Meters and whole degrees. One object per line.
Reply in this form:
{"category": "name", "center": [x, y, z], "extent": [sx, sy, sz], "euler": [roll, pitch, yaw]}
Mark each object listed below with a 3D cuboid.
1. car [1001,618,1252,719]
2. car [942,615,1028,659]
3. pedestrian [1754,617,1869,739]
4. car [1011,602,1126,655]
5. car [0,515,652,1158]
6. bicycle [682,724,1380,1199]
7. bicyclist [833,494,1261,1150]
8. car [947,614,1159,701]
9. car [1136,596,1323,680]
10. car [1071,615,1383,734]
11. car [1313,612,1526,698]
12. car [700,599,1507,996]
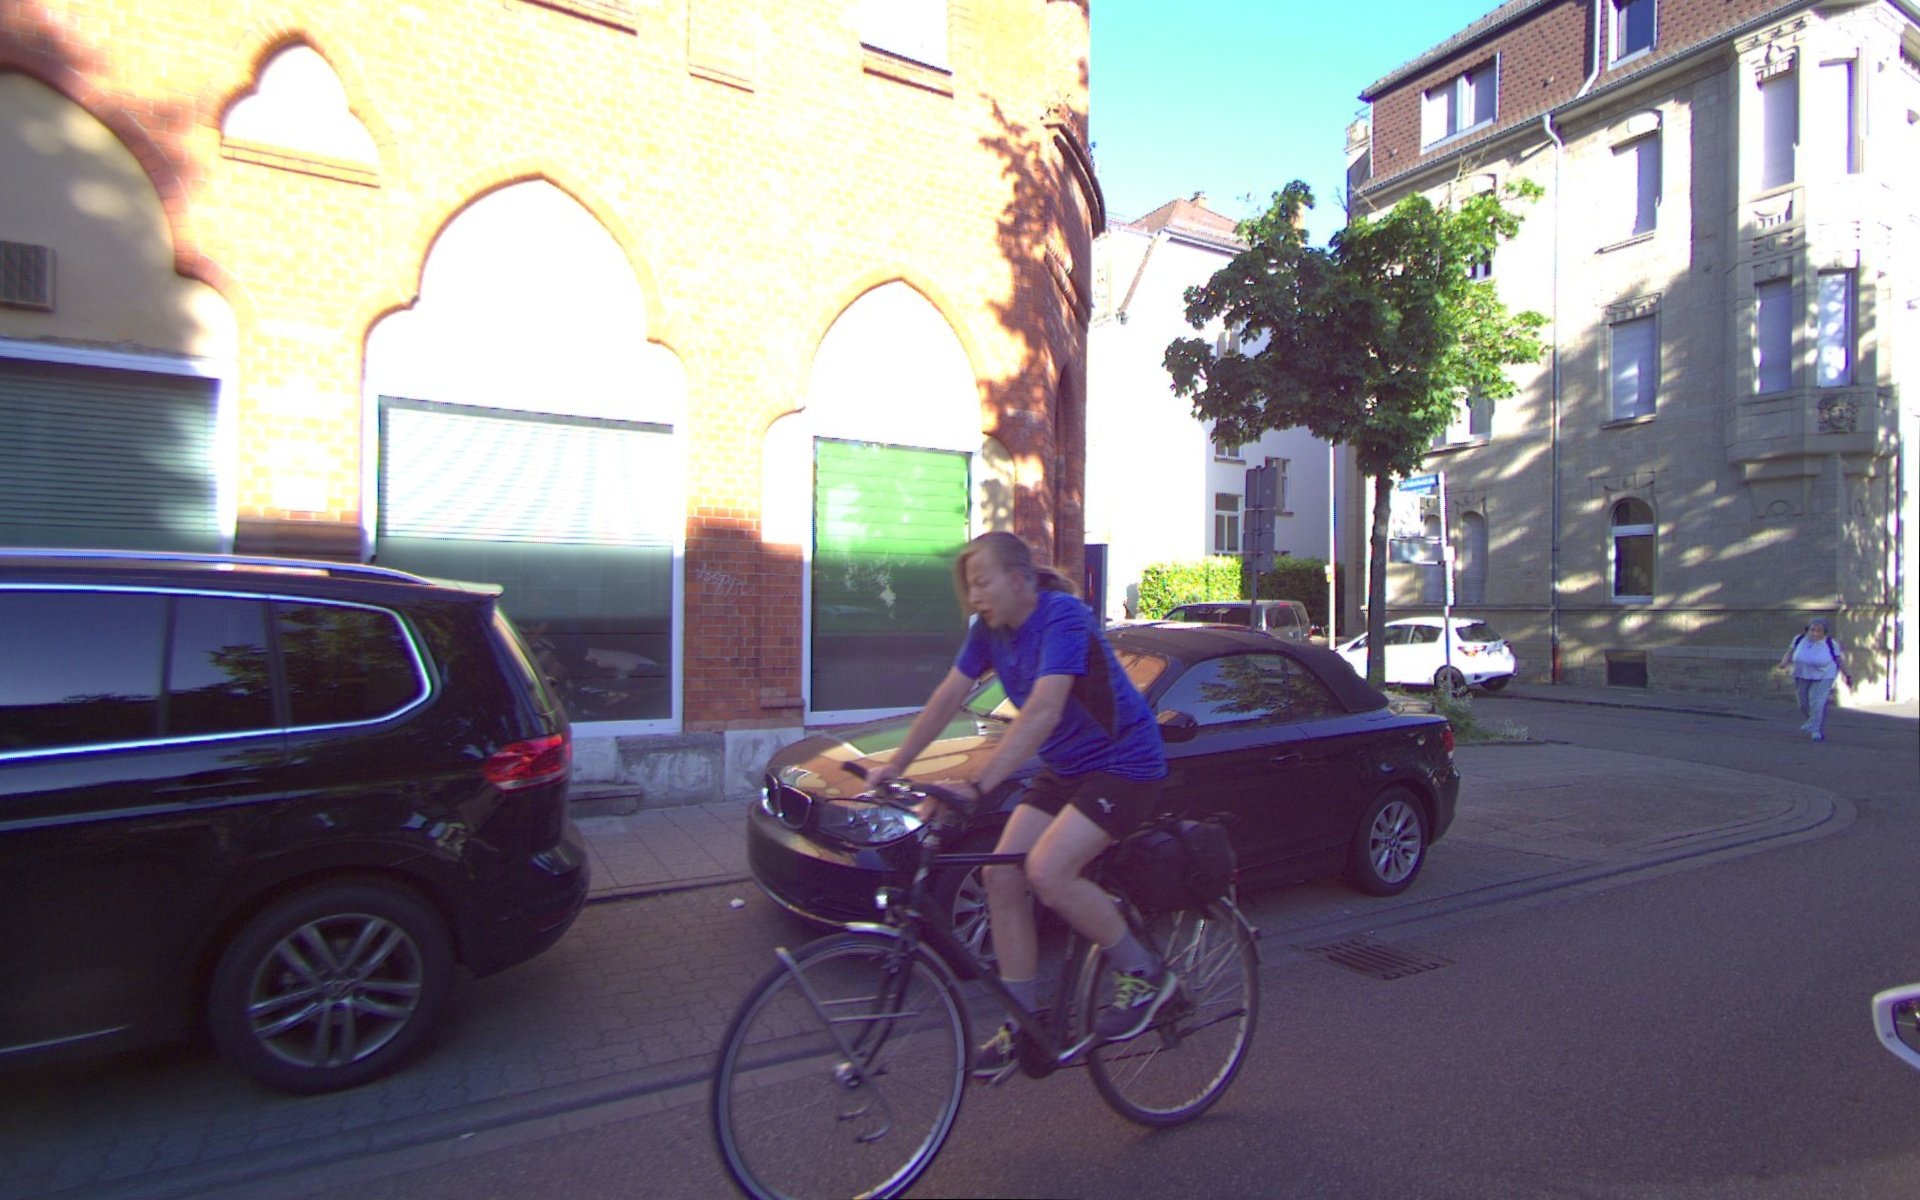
{"category": "car", "center": [2.915, 1.109, 17.348], "extent": [4.163, 1.571, 1.705], "euler": [1, -1, -30]}
{"category": "car", "center": [0.858, 1.294, 36.173], "extent": [1.471, 1.424, 3.386], "euler": [-2, 1, -31]}
{"category": "pedestrian", "center": [11.689, 1.039, 13.797], "extent": [1.041, 1.598, 0.884], "euler": [0, -2, -30]}
{"category": "car", "center": [3.364, 0.860, 31.743], "extent": [1.584, 1.493, 3.869], "euler": [-2, 1, -31]}
{"category": "car", "center": [-3.356, 0.609, 3.120], "extent": [4.302, 1.703, 1.660], "euler": [1, 0, -32]}
{"category": "bicycle", "center": [0.259, 0.980, 2.851], "extent": [1.885, 1.122, 0.754], "euler": [2, -2, -30]}
{"category": "bicyclist", "center": [0.231, 0.517, 2.837], "extent": [0.937, 1.473, 0.756], "euler": [2, -2, -30]}
{"category": "car", "center": [1.846, 1.085, 19.619], "extent": [3.869, 1.532, 1.705], "euler": [2, -1, -30]}
{"category": "car", "center": [6.833, 0.916, 26.025], "extent": [1.846, 1.892, 4.688], "euler": [-2, 1, -31]}
{"category": "car", "center": [3.970, 1.017, 14.682], "extent": [4.603, 1.488, 1.628], "euler": [1, 0, -30]}
{"category": "car", "center": [9.566, 1.076, 21.166], "extent": [1.699, 1.571, 3.776], "euler": [-2, 1, -31]}
{"category": "car", "center": [0.930, 0.786, 5.522], "extent": [4.282, 1.429, 1.628], "euler": [1, 1, -30]}
